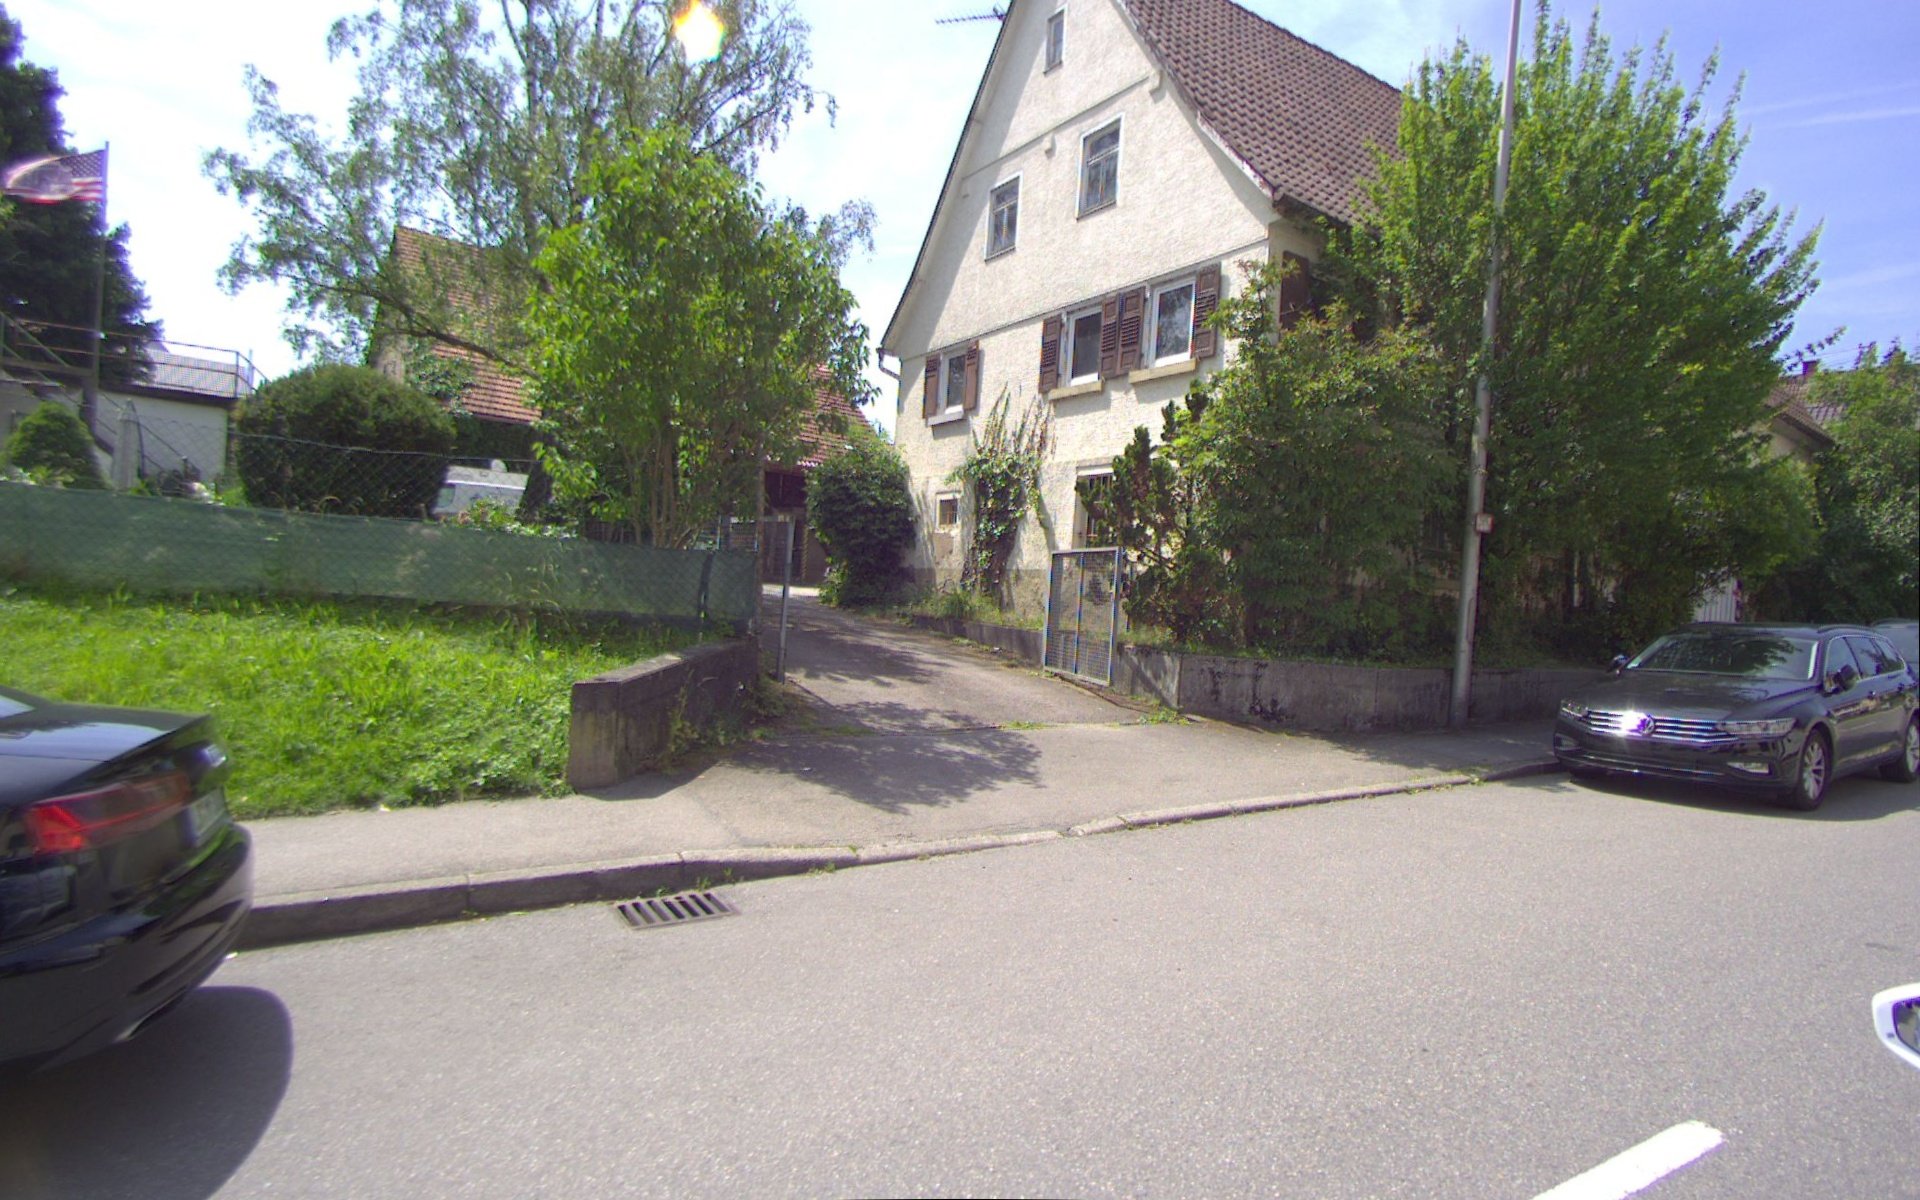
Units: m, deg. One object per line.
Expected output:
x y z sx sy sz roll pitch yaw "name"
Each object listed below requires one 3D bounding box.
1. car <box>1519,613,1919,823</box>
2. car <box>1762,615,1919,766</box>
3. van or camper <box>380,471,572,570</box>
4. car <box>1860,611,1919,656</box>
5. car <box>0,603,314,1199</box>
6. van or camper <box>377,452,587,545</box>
7.301 0.922 9.282 4.662 1.483 1.778 2 0 -33 "car"
11.611 0.983 12.000 4.250 1.541 1.747 1 0 -30 "car"
-11.495 -1.839 24.033 3.948 2.041 1.986 2 2 -26 "van or camper"
35.015 1.330 35.719 1.807 1.424 4.190 1 5 -41 "car"
-4.332 0.712 2.084 4.867 1.443 1.797 1 0 -29 "car"
-12.817 -2.647 27.069 4.774 2.041 1.978 1 3 -38 "van or camper"
